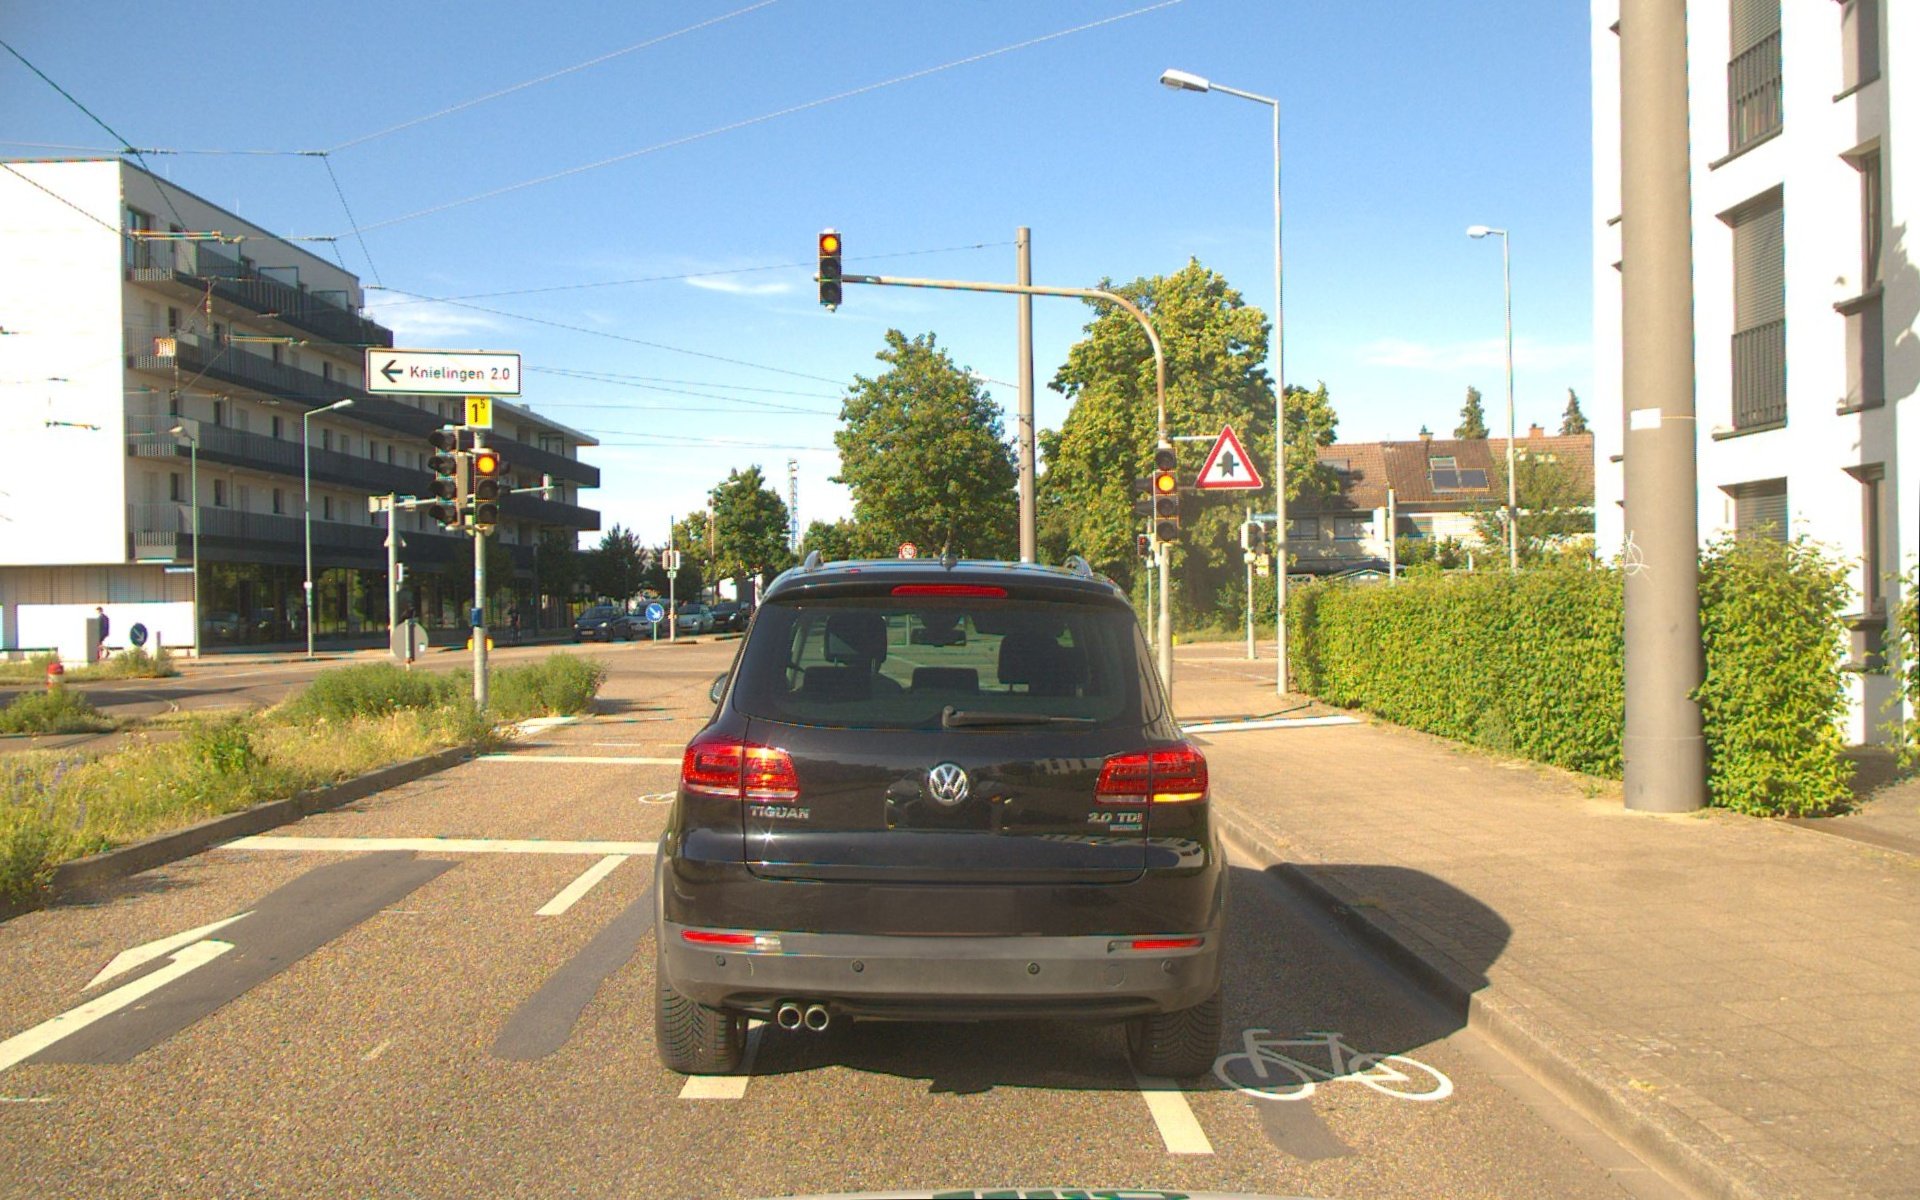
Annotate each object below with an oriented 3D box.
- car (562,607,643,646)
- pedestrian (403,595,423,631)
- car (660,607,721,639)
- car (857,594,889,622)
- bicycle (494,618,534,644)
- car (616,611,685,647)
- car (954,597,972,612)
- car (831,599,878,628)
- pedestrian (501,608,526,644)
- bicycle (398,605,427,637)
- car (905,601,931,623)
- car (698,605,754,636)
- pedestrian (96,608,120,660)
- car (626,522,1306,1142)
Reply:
[{"bbox_3d":[-15.345,1.125,71.204,1.951,1.601,4.343,1,0,9],"label":"car"},{"bbox_3d":[-23.635,0.543,71.458,0.629,1.535,0.596,1,-1,-2],"label":"pedestrian"},{"bbox_3d":[-13.768,1.162,84.806,1.951,1.601,4.342,1,0,7],"label":"car"},{"bbox_3d":[-5.734,0.514,109.084,1.825,1.750,3.687,0,0,1],"label":"car"},{"bbox_3d":[-18.510,1.278,68.739,0.755,1.006,2.434,1,0,6],"label":"bicycle"},{"bbox_3d":[-14.578,1.342,78.127,1.951,1.601,4.342,1,0,7],"label":"car"},{"bbox_3d":[0.345,0.532,195.906,1.953,1.713,3.998,1,0,-2],"label":"car"},{"bbox_3d":[-5.734,0.697,90.398,1.824,1.511,4.113,-1,0,7],"label":"car"},{"bbox_3d":[-18.525,1.074,68.650,0.696,1.499,0.954,1,0,6],"label":"pedestrian"},{"bbox_3d":[-23.648,0.905,71.454,0.617,1.355,1.912,1,0,-1],"label":"bicycle"},{"bbox_3d":[-3.605,1.025,142.973,1.952,1.869,4.001,1,0,2],"label":"car"},{"bbox_3d":[-12.806,1.107,90.853,1.951,1.601,4.342,1,0,7],"label":"car"},{"bbox_3d":[-28.969,1.155,56.247,0.532,1.774,0.517,1,-1,-6],"label":"pedestrian"},{"bbox_3d":[-0.006,0.644,6.512,1.831,1.666,3.999,1,0,-1],"label":"car"}]
